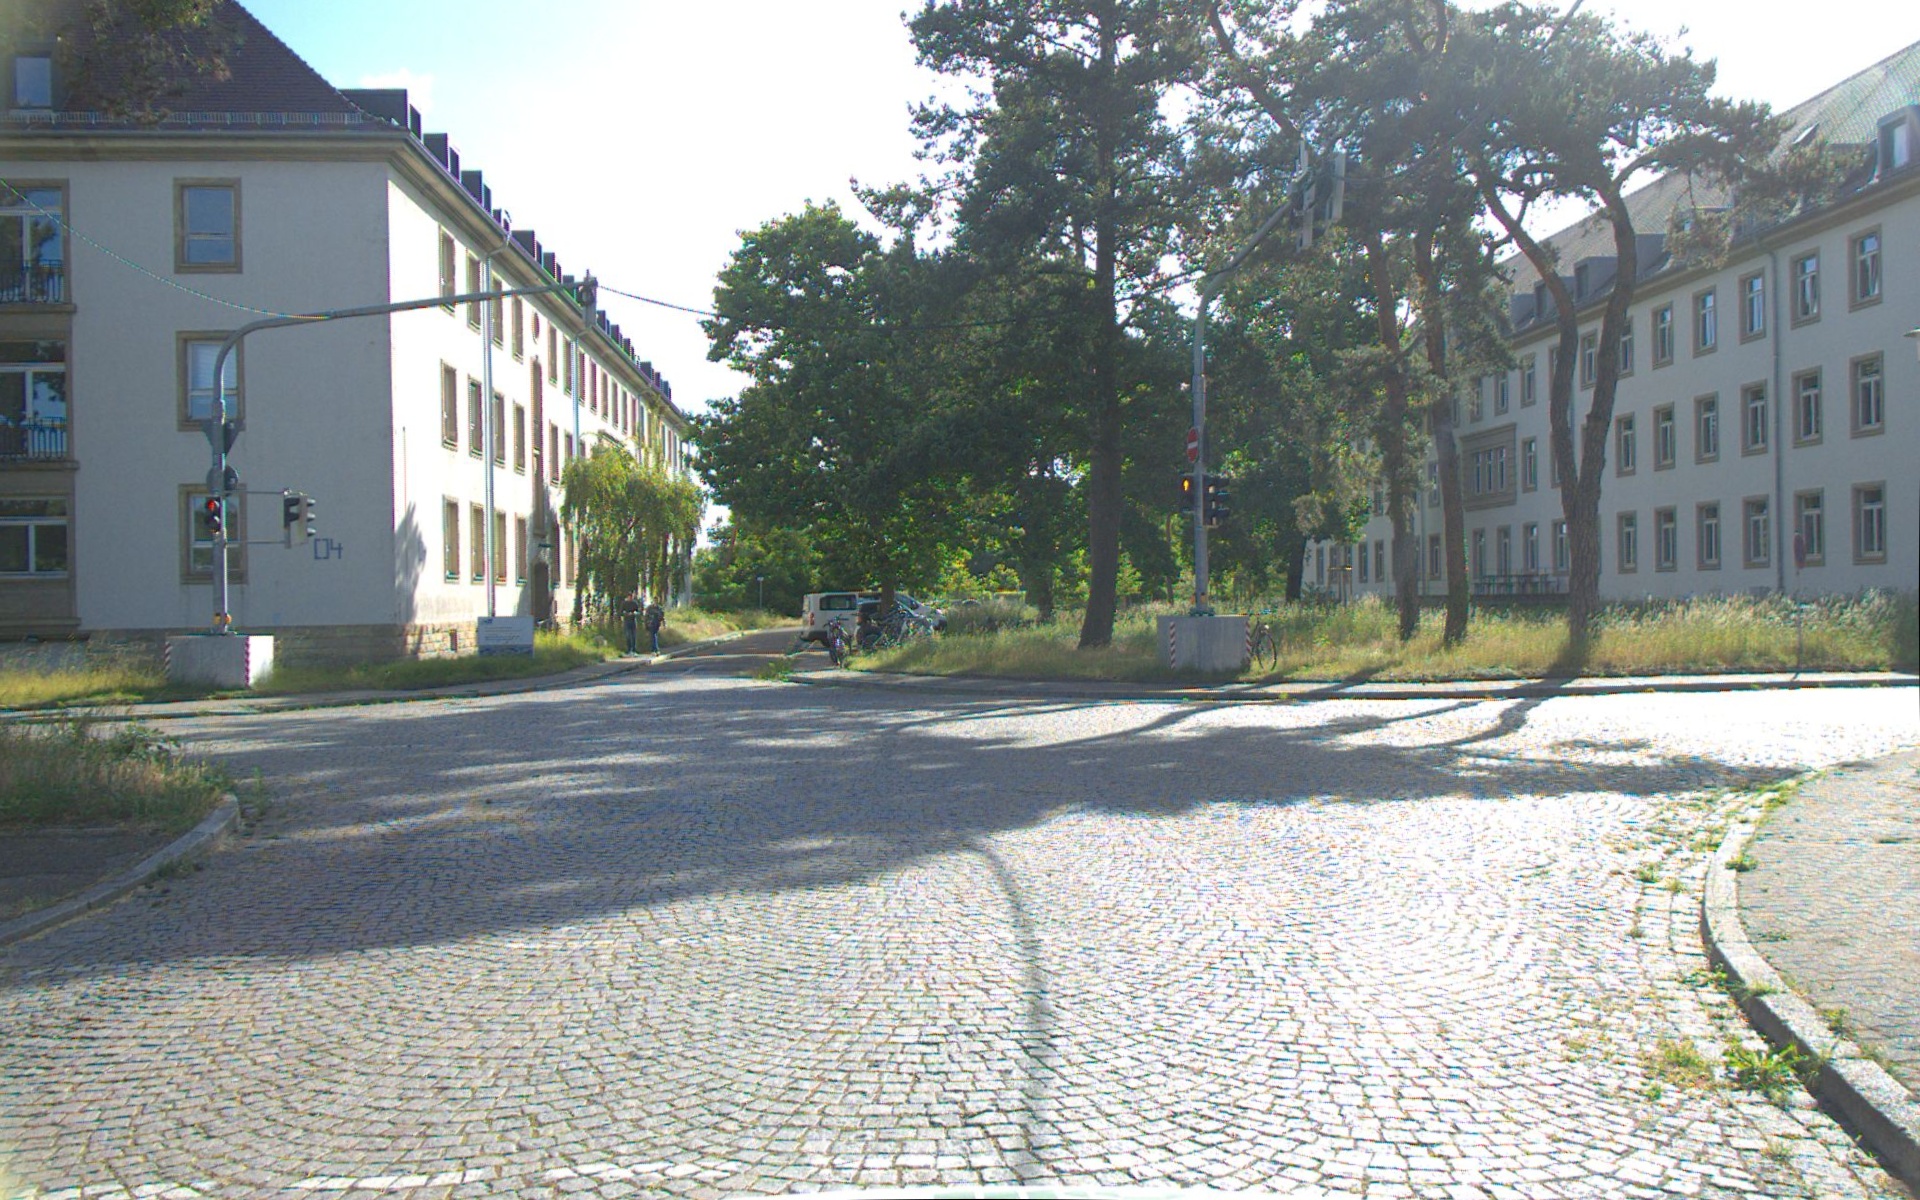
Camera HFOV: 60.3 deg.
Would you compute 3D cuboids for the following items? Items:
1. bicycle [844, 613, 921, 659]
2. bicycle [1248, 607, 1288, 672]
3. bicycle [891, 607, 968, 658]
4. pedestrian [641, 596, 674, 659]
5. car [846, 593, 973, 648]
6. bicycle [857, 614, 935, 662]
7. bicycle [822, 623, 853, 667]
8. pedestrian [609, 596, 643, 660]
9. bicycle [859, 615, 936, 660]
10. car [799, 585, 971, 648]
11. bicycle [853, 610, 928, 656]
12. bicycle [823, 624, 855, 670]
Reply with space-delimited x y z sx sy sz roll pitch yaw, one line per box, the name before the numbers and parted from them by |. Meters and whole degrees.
bicycle | -1.995 0.916 42.658 1.921 1.149 0.641 -1 0 -31
bicycle | 5.383 0.685 28.966 0.456 1.099 1.173 -1 -1 0
bicycle | -0.787 0.827 42.219 1.904 1.257 0.484 -1 0 -7
pedestrian | -8.988 0.809 49.173 0.751 1.849 0.683 -1 0 7
car | -1.694 0.662 54.420 3.916 1.713 1.842 -1 0 -12
bicycle | -1.616 0.954 41.464 1.904 1.149 0.749 -1 0 -7
bicycle | -2.892 1.042 39.037 0.682 0.988 1.858 0 0 -5
pedestrian | -9.820 0.816 48.615 0.794 1.849 0.555 -1 0 7
bicycle | -1.544 0.908 40.672 1.819 1.049 0.749 -1 0 -7
car | -2.699 0.570 58.744 5.824 2.049 2.469 -1 0 -11
bicycle | -1.848 0.870 43.764 1.905 1.149 0.646 -1 0 -9
bicycle | -2.718 1.041 37.114 0.682 0.988 1.858 0 0 -5
